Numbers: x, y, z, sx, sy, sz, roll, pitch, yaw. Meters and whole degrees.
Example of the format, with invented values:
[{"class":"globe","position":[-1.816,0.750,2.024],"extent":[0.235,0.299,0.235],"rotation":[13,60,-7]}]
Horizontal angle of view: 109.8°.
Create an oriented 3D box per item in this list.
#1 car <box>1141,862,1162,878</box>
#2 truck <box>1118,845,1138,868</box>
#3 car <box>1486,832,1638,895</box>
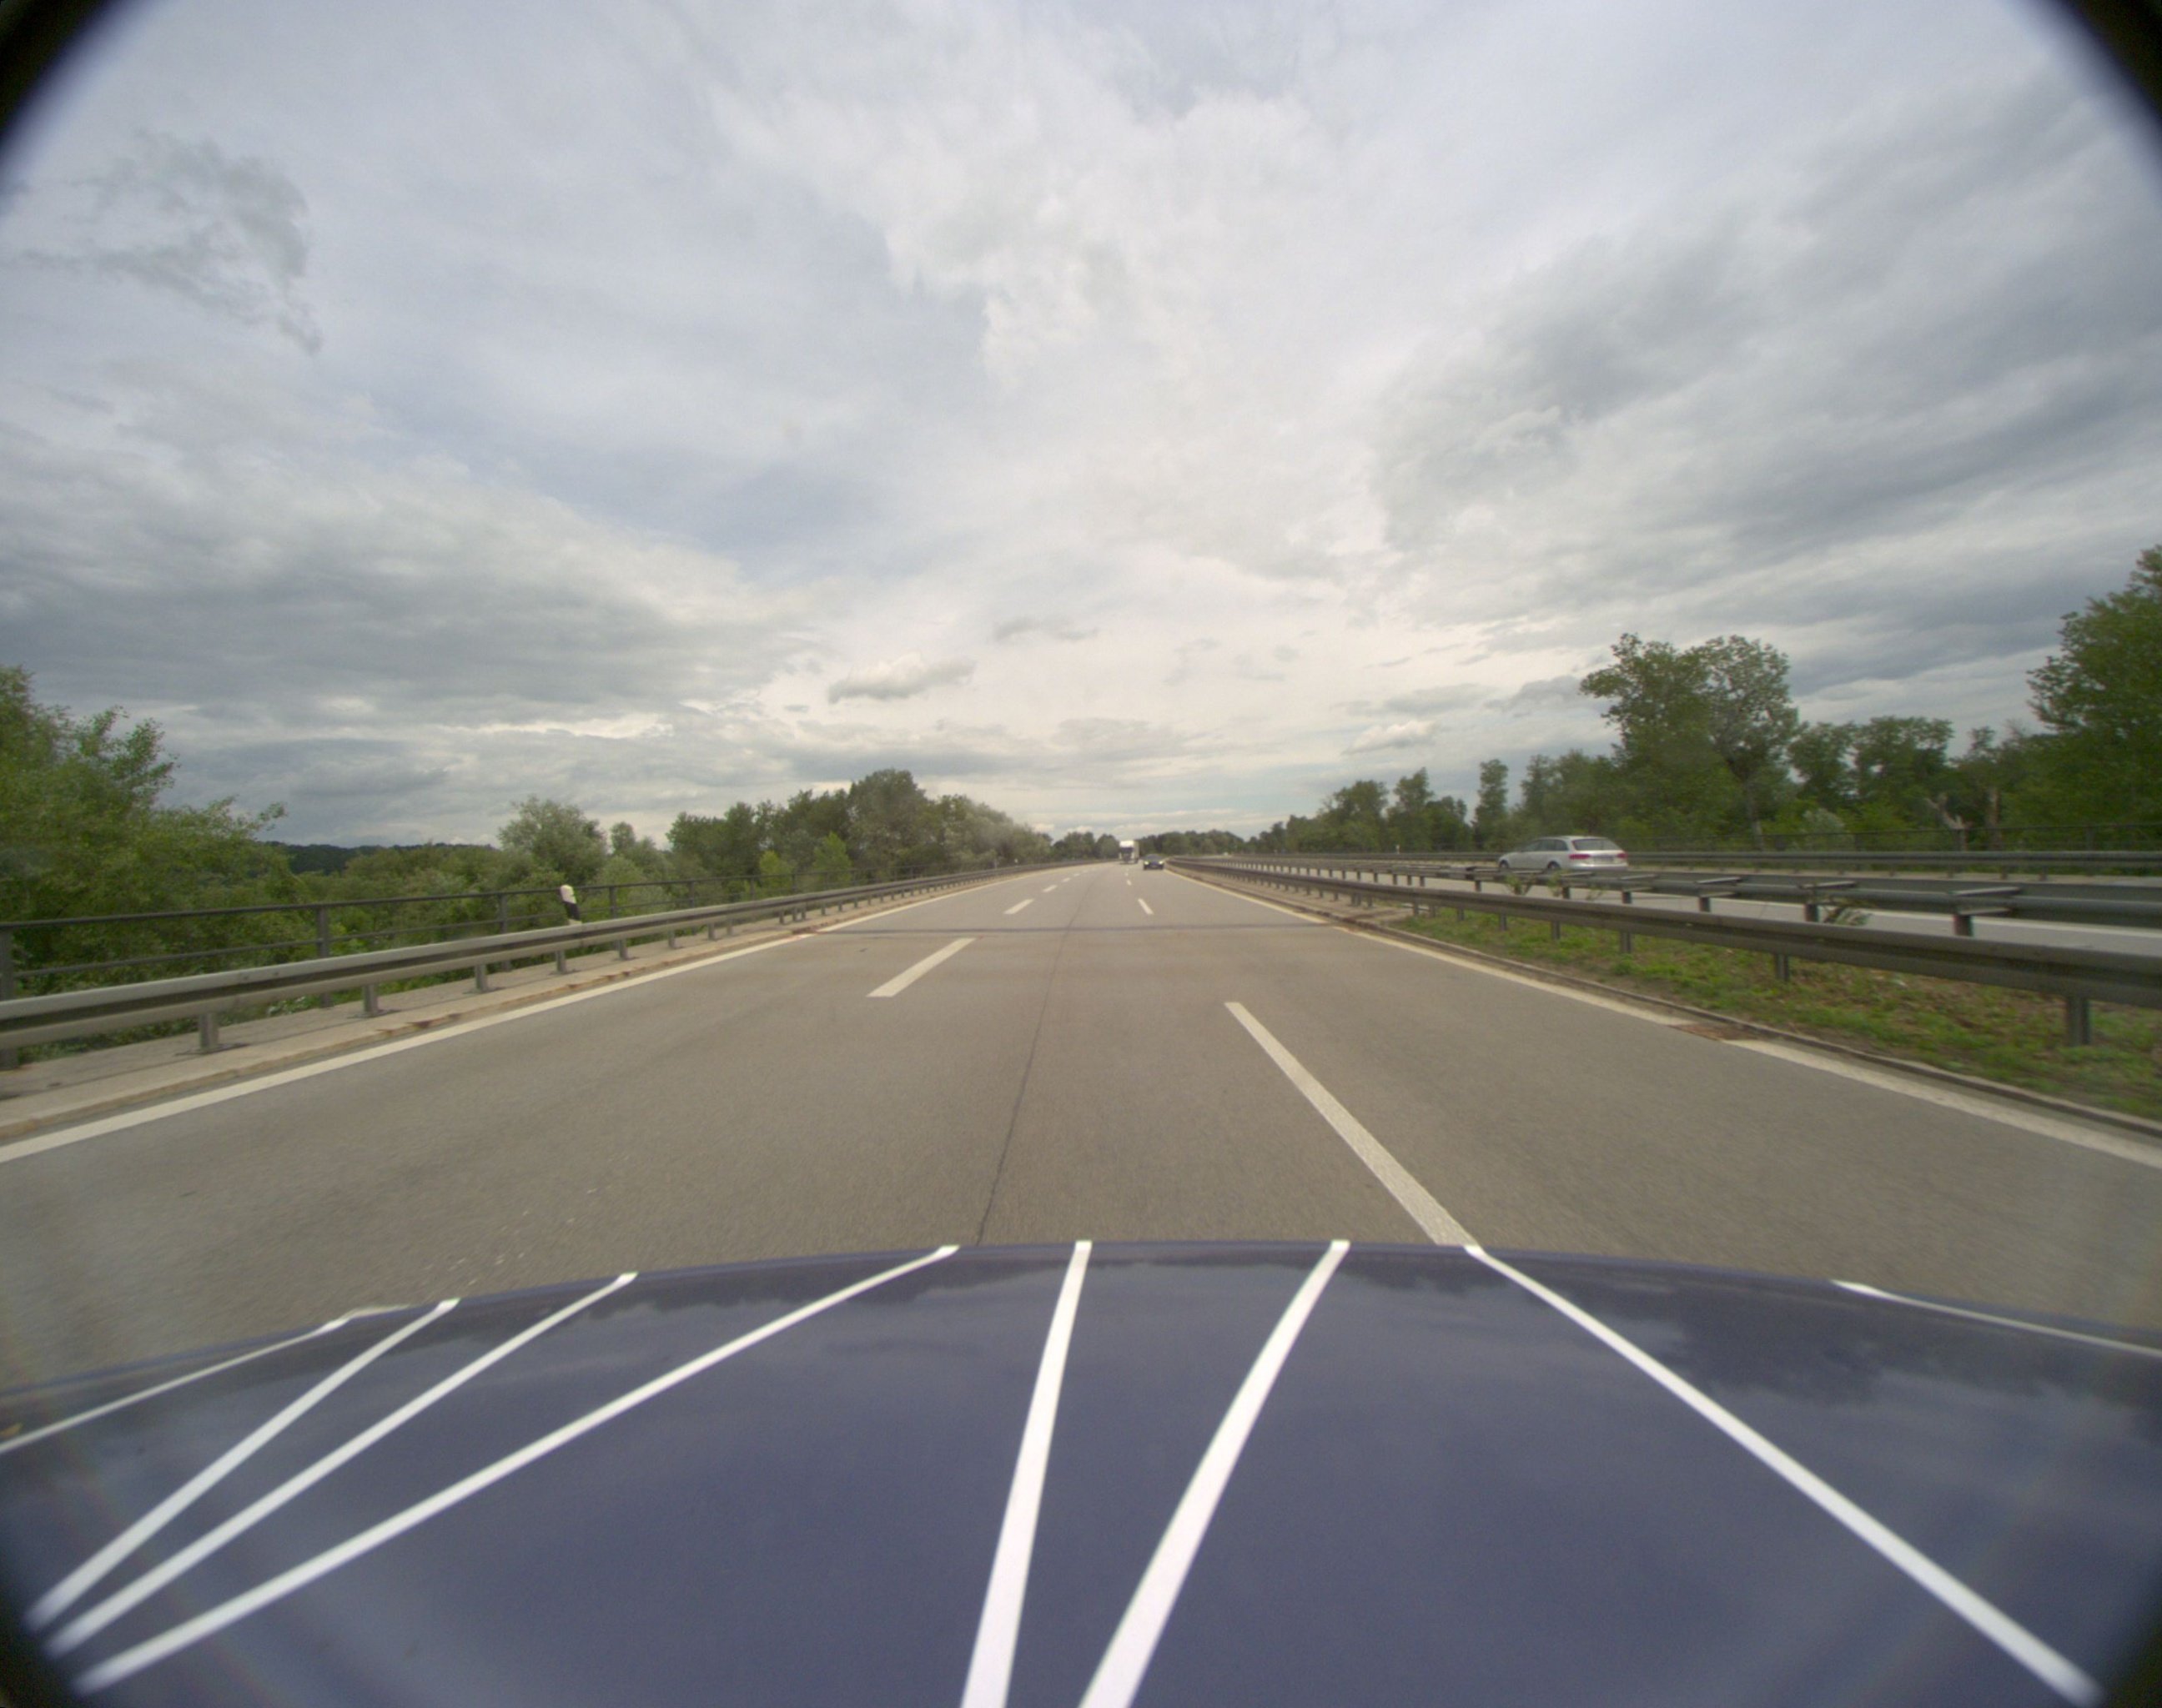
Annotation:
[{"class":"car","position":[6.615,1.502,71.965],"extent":[1.774,1.474,4.699],"rotation":[-1,-1,3]},{"class":"truck","position":[8.175,0.445,131.462],"extent":[3.069,3.868,6.003],"rotation":[-2,-1,5]},{"class":"car","position":[14.759,0.252,23.695],"extent":[1.646,1.705,4.981],"rotation":[-2,0,2]}]
